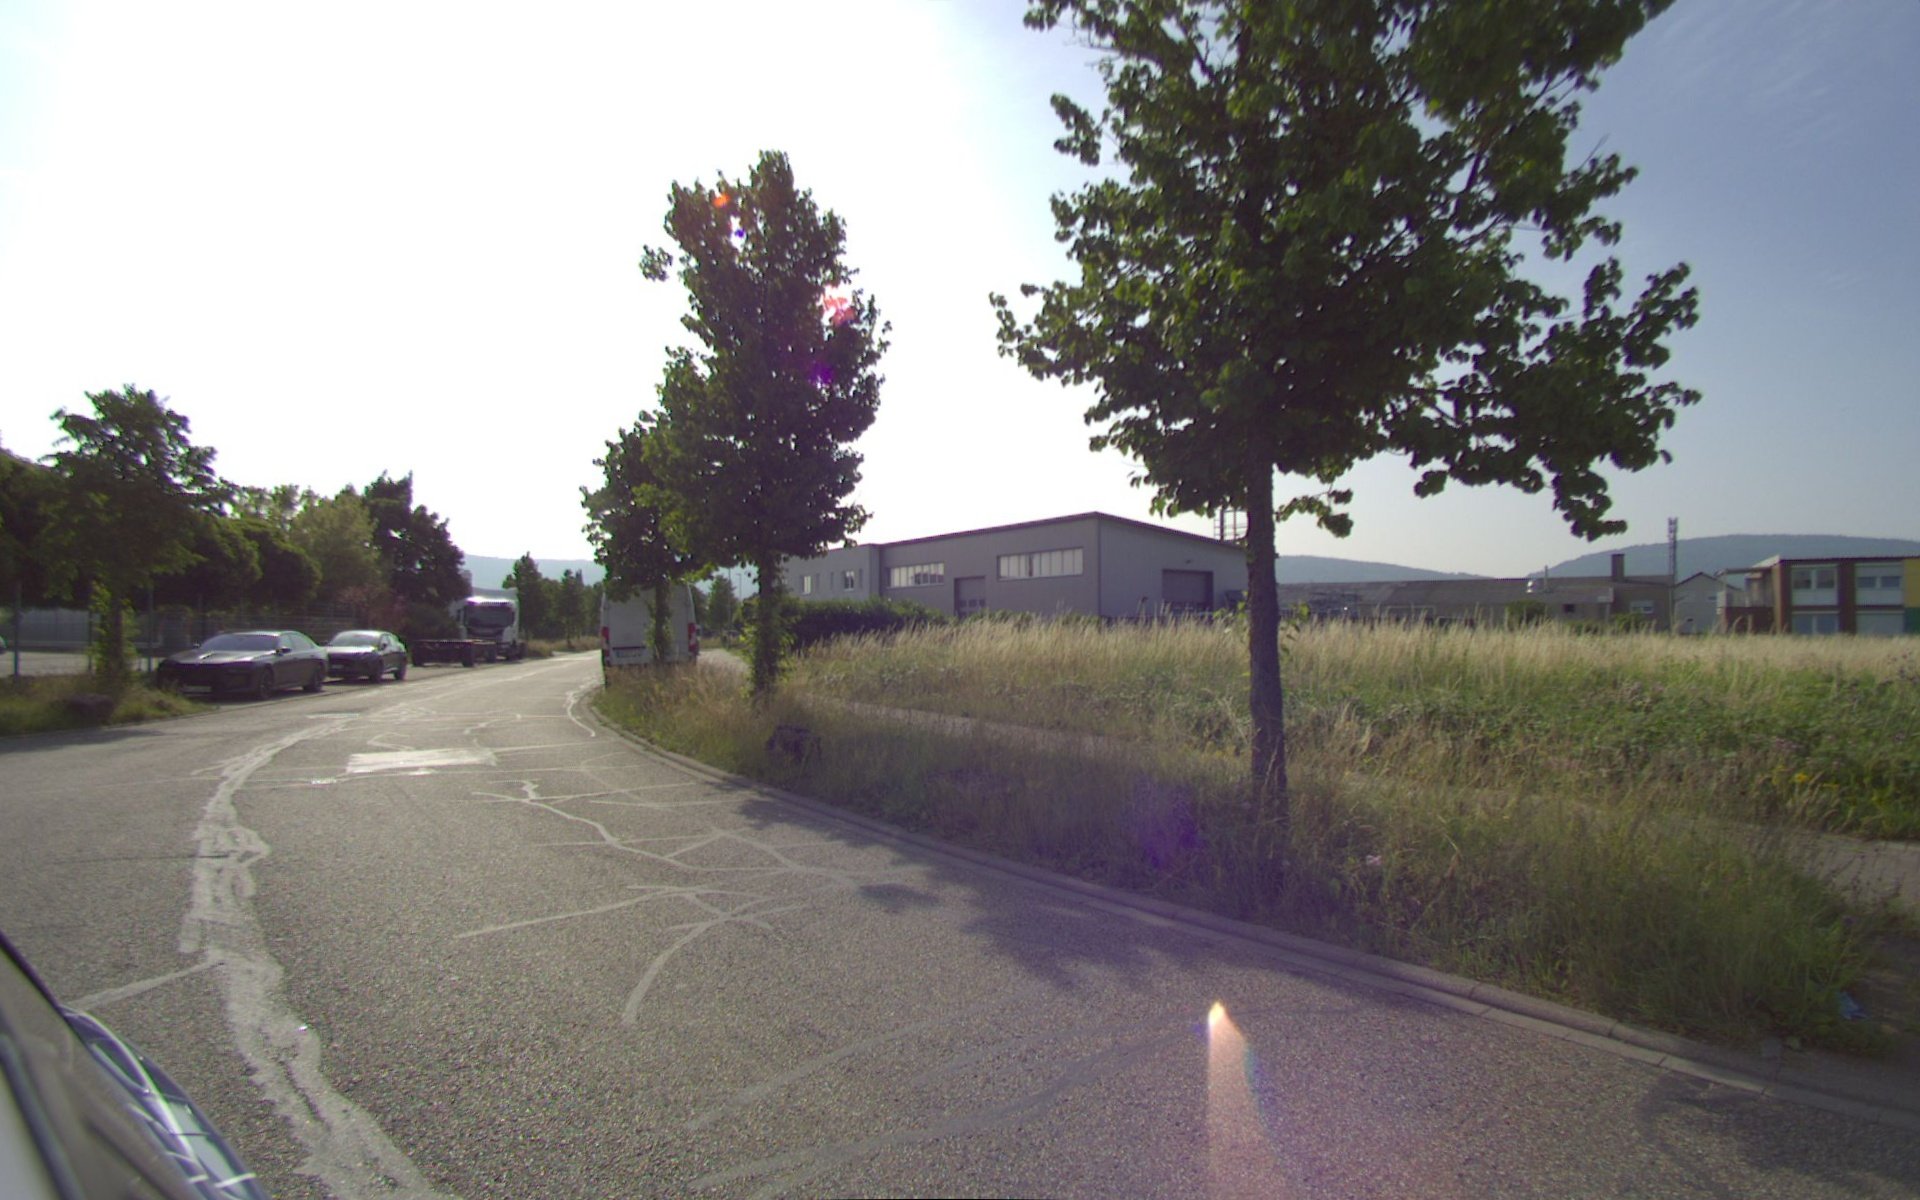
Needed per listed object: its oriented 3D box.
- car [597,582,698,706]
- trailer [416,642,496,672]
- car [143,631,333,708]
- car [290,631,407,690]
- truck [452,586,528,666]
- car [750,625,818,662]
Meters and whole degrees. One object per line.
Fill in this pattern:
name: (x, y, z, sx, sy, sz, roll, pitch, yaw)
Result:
car: (-7.691, 1.052, 24.897, 2.073, 2.615, 6.523, 0, -2, -18)
trailer: (-23.079, 2.568, 46.655, 1.912, 1.245, 7.472, 2, -3, -16)
car: (-16.708, 1.550, 23.788, 1.855, 1.586, 5.132, 2, -2, -14)
car: (-18.331, 1.788, 30.540, 1.855, 1.586, 4.124, 3, -2, -15)
truck: (-25.111, 1.453, 54.299, 2.654, 3.994, 6.065, 3, -3, -16)
car: (-8.283, 2.016, 47.402, 1.808, 1.584, 3.827, -1, -2, -31)
